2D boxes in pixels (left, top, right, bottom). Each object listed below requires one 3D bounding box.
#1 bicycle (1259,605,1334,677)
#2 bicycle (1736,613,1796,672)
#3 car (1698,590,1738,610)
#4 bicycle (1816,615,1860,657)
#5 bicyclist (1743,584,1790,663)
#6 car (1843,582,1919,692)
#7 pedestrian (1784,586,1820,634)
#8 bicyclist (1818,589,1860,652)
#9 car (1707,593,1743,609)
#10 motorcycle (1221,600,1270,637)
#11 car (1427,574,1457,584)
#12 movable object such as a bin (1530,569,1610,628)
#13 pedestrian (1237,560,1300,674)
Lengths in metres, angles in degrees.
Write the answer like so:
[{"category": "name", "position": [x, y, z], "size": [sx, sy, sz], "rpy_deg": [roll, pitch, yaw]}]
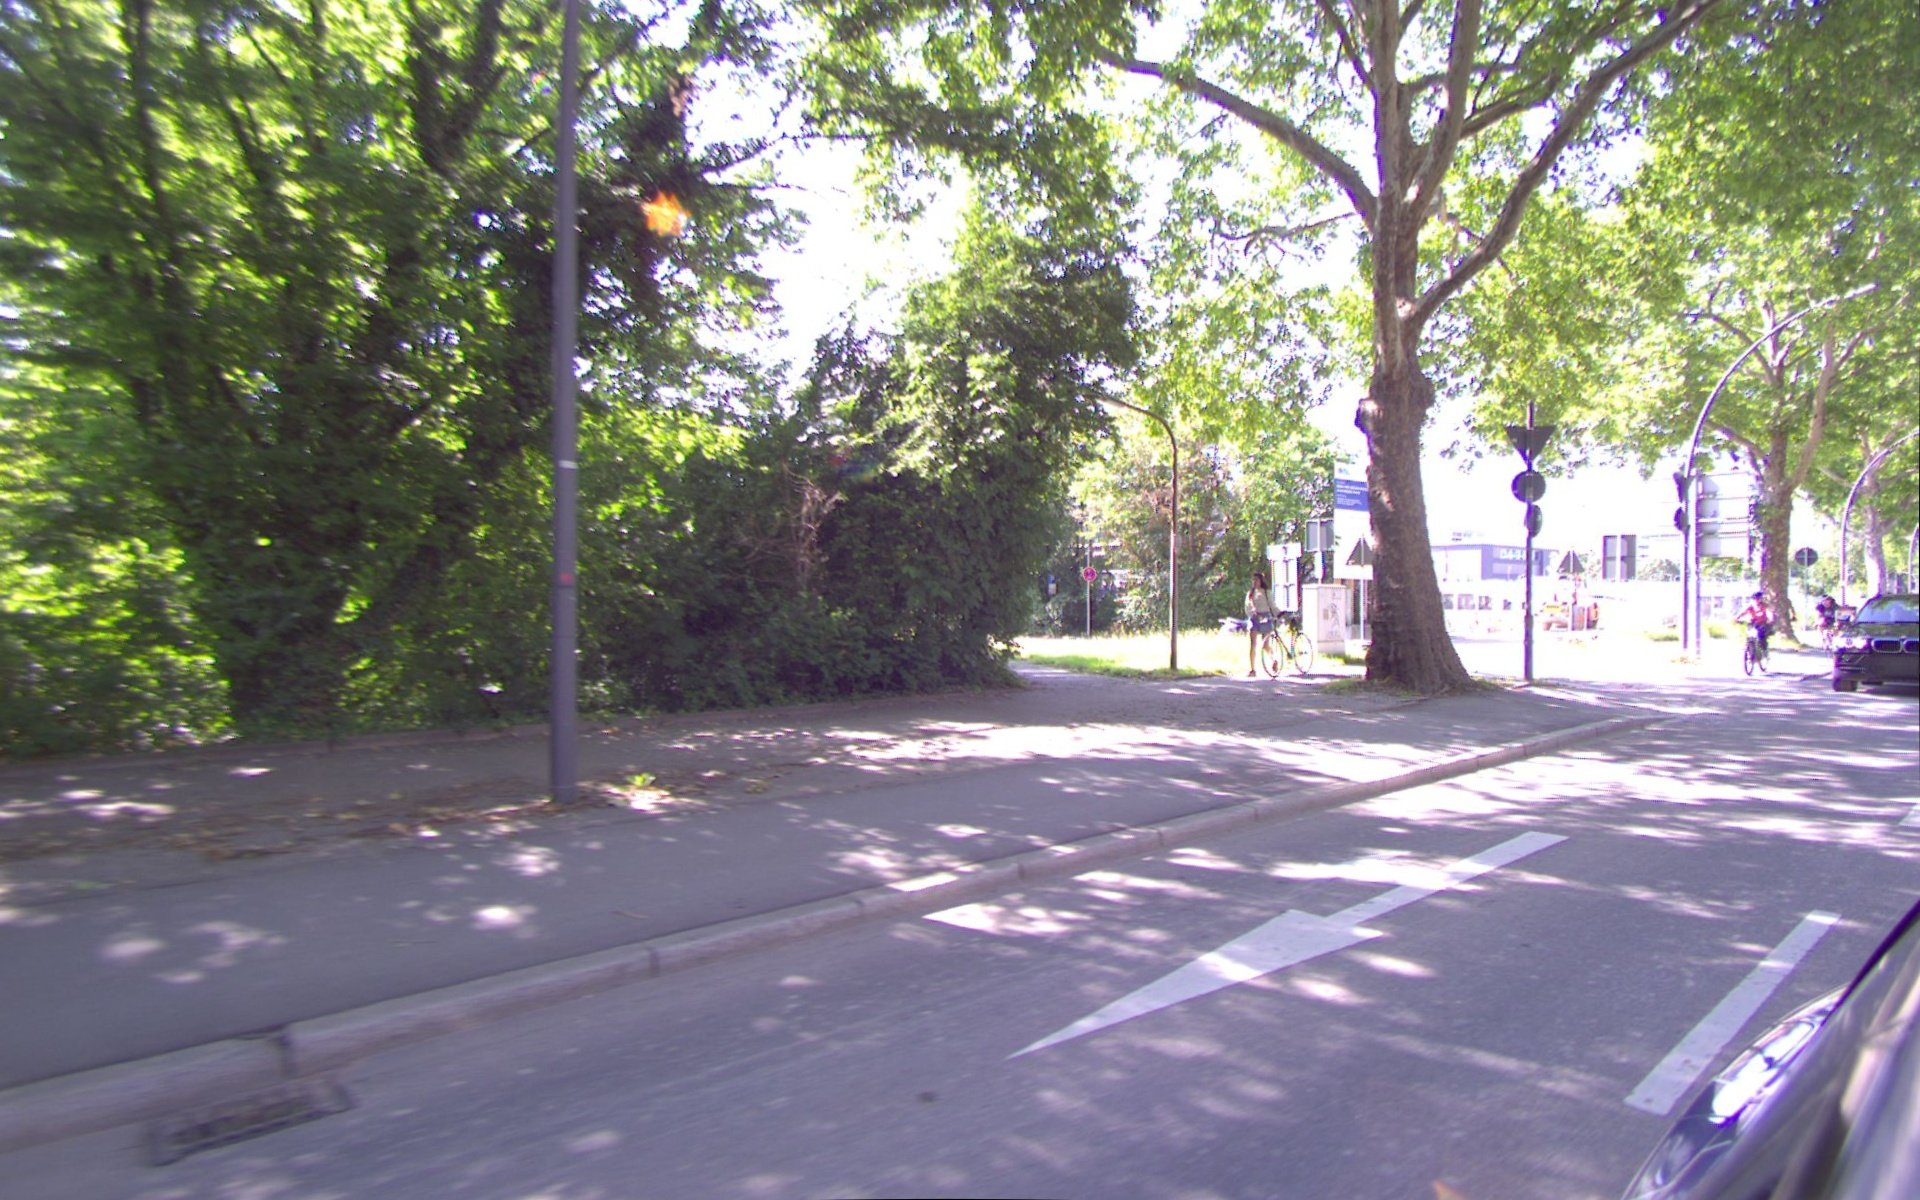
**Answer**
[{"category": "bicycle", "position": [5.466, 0.641, 16.399], "size": [1.669, 1.095, 0.350], "rpy_deg": [0, -1, -41]}, {"category": "bicycle", "position": [17.060, 0.871, 21.407], "size": [1.911, 1.143, 0.652], "rpy_deg": [0, 1, -41]}, {"category": "car", "position": [109.315, -0.036, 145.966], "size": [1.778, 2.773, 4.367], "rpy_deg": [1, 0, -43]}, {"category": "bicycle", "position": [22.096, 0.894, 25.461], "size": [1.751, 0.992, 0.598], "rpy_deg": [0, 2, -42]}, {"category": "bicyclist", "position": [17.006, 0.486, 21.331], "size": [0.720, 1.620, 0.621], "rpy_deg": [1, 1, -42]}, {"category": "car", "position": [16.817, 0.591, 17.380], "size": [4.079, 1.752, 1.923], "rpy_deg": [0, 0, -41]}, {"category": "pedestrian", "position": [34.047, 0.408, 40.941], "size": [1.131, 1.916, 0.940], "rpy_deg": [1, -1, -40]}, {"category": "bicyclist", "position": [22.081, 0.509, 25.419], "size": [1.194, 1.508, 0.599], "rpy_deg": [1, 2, -42]}, {"category": "car", "position": [113.341, 0.150, 149.957], "size": [1.778, 2.352, 3.991], "rpy_deg": [1, 0, -43]}, {"category": "motorcycle", "position": [7.690, 0.493, 27.283], "size": [1.219, 0.980, 0.464], "rpy_deg": [0, 0, 44]}, {"category": "car", "position": [77.258, -3.406, 162.241], "size": [1.778, 1.529, 3.991], "rpy_deg": [1, 0, -43]}, {"category": "movable object such as a bin", "position": [34.066, -0.063, 56.437], "size": [5.885, 3.111, 2.371], "rpy_deg": [1, -1, -44]}, {"category": "pedestrian", "position": [5.050, 0.273, 16.557], "size": [0.859, 1.808, 0.633], "rpy_deg": [0, -1, -41]}]
